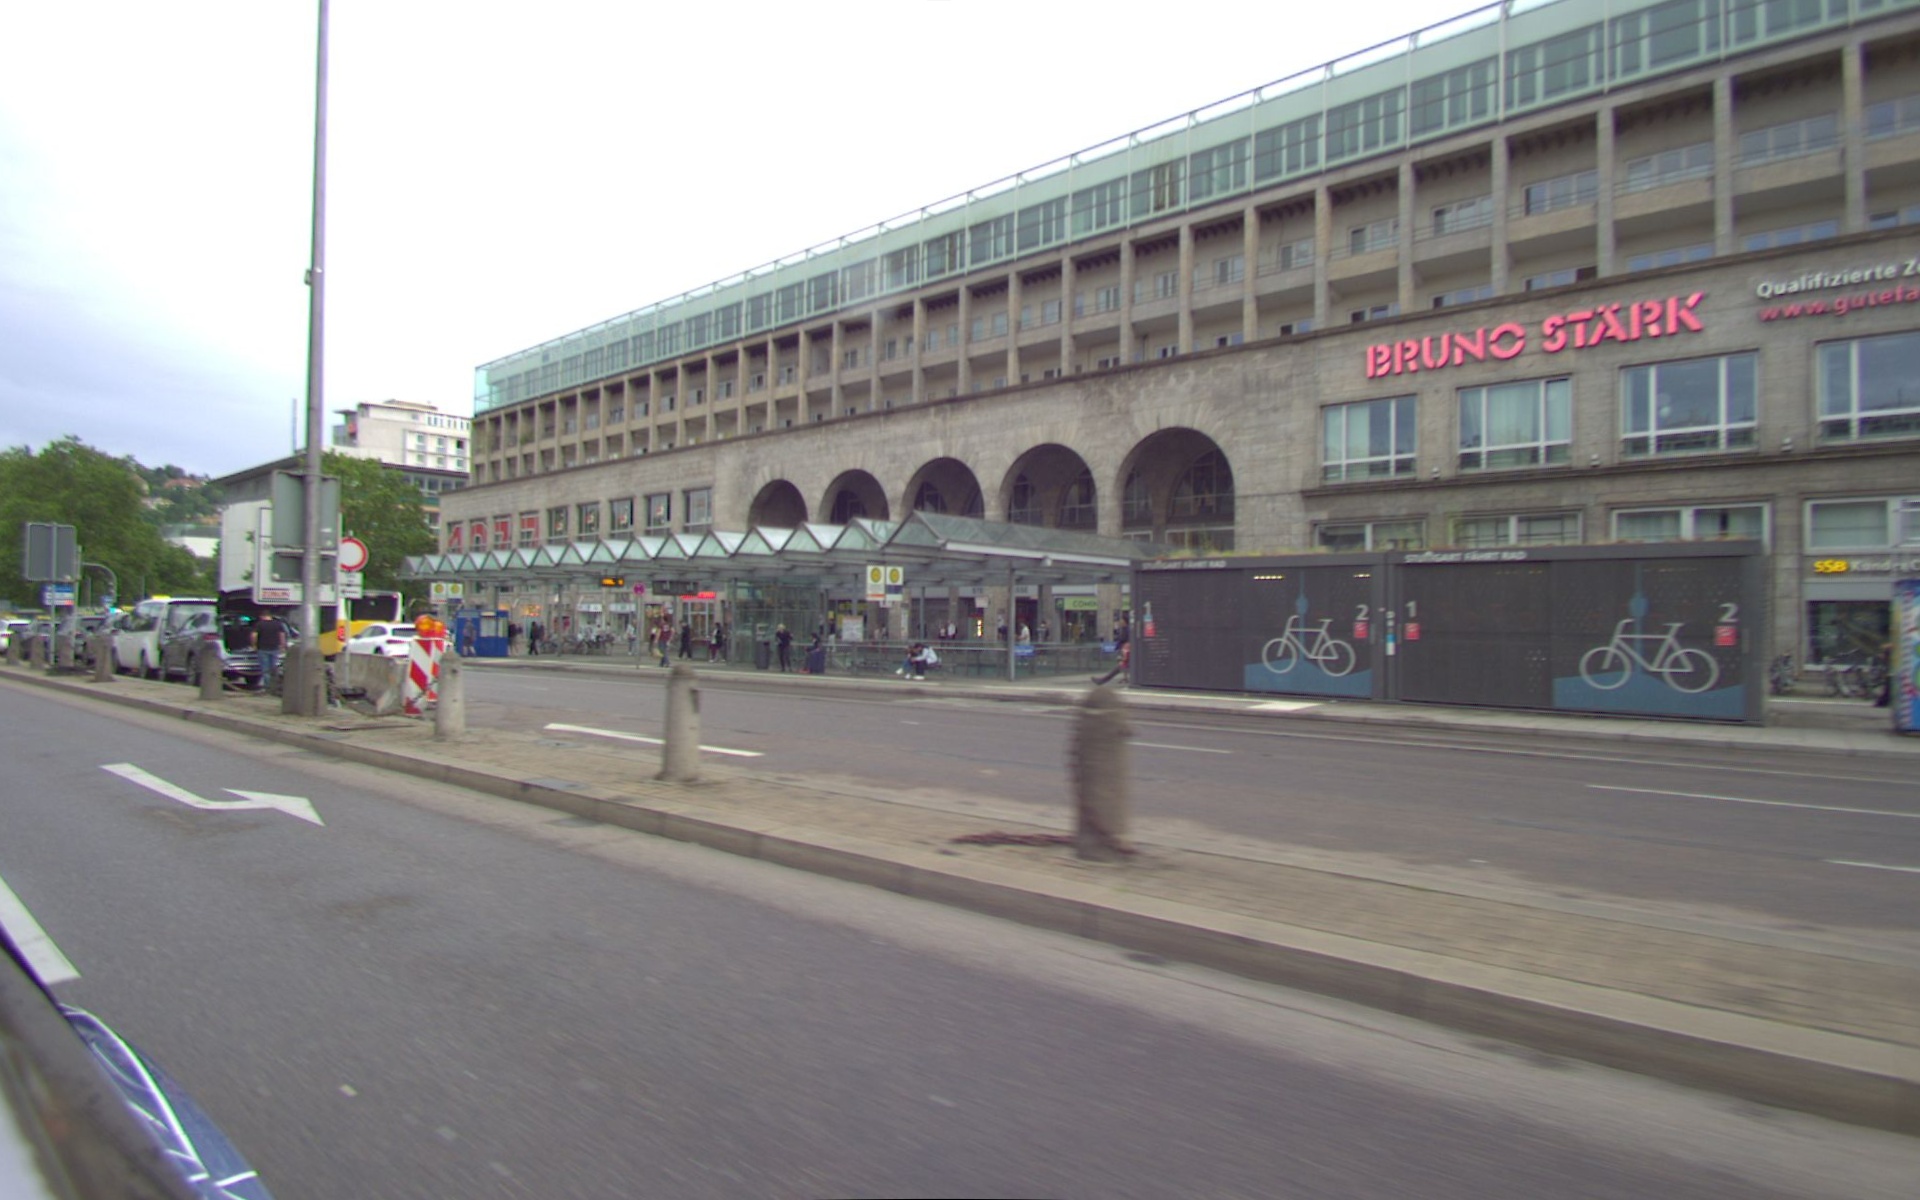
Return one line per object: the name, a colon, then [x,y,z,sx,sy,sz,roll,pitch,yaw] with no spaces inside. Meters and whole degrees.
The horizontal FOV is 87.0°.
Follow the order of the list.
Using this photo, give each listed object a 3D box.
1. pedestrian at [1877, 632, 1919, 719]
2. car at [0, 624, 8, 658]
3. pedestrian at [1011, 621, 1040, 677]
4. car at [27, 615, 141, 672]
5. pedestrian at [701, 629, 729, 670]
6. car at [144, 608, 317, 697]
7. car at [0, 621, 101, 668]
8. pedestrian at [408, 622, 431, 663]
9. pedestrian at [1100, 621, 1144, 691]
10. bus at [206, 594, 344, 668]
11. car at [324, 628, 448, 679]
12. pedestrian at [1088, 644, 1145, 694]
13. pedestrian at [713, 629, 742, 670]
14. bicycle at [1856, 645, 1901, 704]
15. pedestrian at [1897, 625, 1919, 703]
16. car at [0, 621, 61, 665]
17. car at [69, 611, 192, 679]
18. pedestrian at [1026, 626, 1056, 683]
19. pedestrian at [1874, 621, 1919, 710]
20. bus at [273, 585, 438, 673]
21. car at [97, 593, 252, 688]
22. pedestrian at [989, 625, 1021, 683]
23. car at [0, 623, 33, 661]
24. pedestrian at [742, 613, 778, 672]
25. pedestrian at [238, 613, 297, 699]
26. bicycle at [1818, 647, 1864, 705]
pedestrian: [19.653,1.561,21.098,0.728,1.765,0.659,-1,-3,39]
car: [-47.138,1.908,48.157,5.254,1.589,1.911,-1,-4,39]
pedestrian: [2.548,1.902,39.240,0.759,2.142,0.807,2,-3,-42]
car: [-28.296,1.385,32.638,4.880,1.712,1.910,-1,-4,39]
pedestrian: [-10.186,2.045,42.083,0.893,1.668,0.748,-2,-1,41]
car: [-15.935,1.098,22.016,4.779,1.735,1.973,-2,-3,41]
car: [-32.937,1.583,36.542,5.045,1.589,1.911,-1,-4,38]
pedestrian: [-23.606,1.849,44.208,0.855,1.738,0.617,-2,-1,40]
pedestrian: [4.497,1.537,28.046,0.930,1.870,0.712,-2,-1,40]
bus: [-34.715,1.592,51.071,10.564,3.402,2.848,-2,-3,40]
car: [-19.017,1.775,33.444,4.830,1.576,1.942,-2,-5,40]
pedestrian: [3.867,1.700,25.102,1.260,1.191,0.574,-2,-1,40]
pedestrian: [-9.515,2.015,41.478,0.893,1.668,0.748,-2,-1,41]
bicycle: [21.635,1.719,23.823,0.663,1.303,2.339,-2,-3,45]
pedestrian: [23.053,1.534,24.336,0.604,1.869,0.673,-1,-3,33]
car: [-37.635,1.681,40.183,5.185,1.672,1.957,-1,-4,38]
car: [-24.178,1.296,29.442,4.578,1.820,1.910,-1,-4,40]
pedestrian: [2.997,1.997,37.344,0.771,2.057,0.795,-2,-3,42]
pedestrian: [20.071,1.382,21.623,0.728,1.867,0.659,-1,-3,39]
bus: [-26.688,1.290,44.386,10.564,3.486,2.848,-2,-2,40]
car: [-20.059,1.016,25.751,5.540,2.195,1.973,-2,-3,40]
pedestrian: [1.718,2.047,38.506,0.759,2.142,0.980,2,-3,-42]
car: [-42.316,1.809,44.167,5.005,1.589,1.911,-1,-4,38]
pedestrian: [-7.043,1.503,35.624,0.960,2.029,0.833,-2,-3,40]
pedestrian: [-13.831,1.100,20.218,0.763,1.665,0.753,-2,-3,40]
bicycle: [21.176,1.793,24.308,0.663,1.303,2.339,-2,-3,45]
